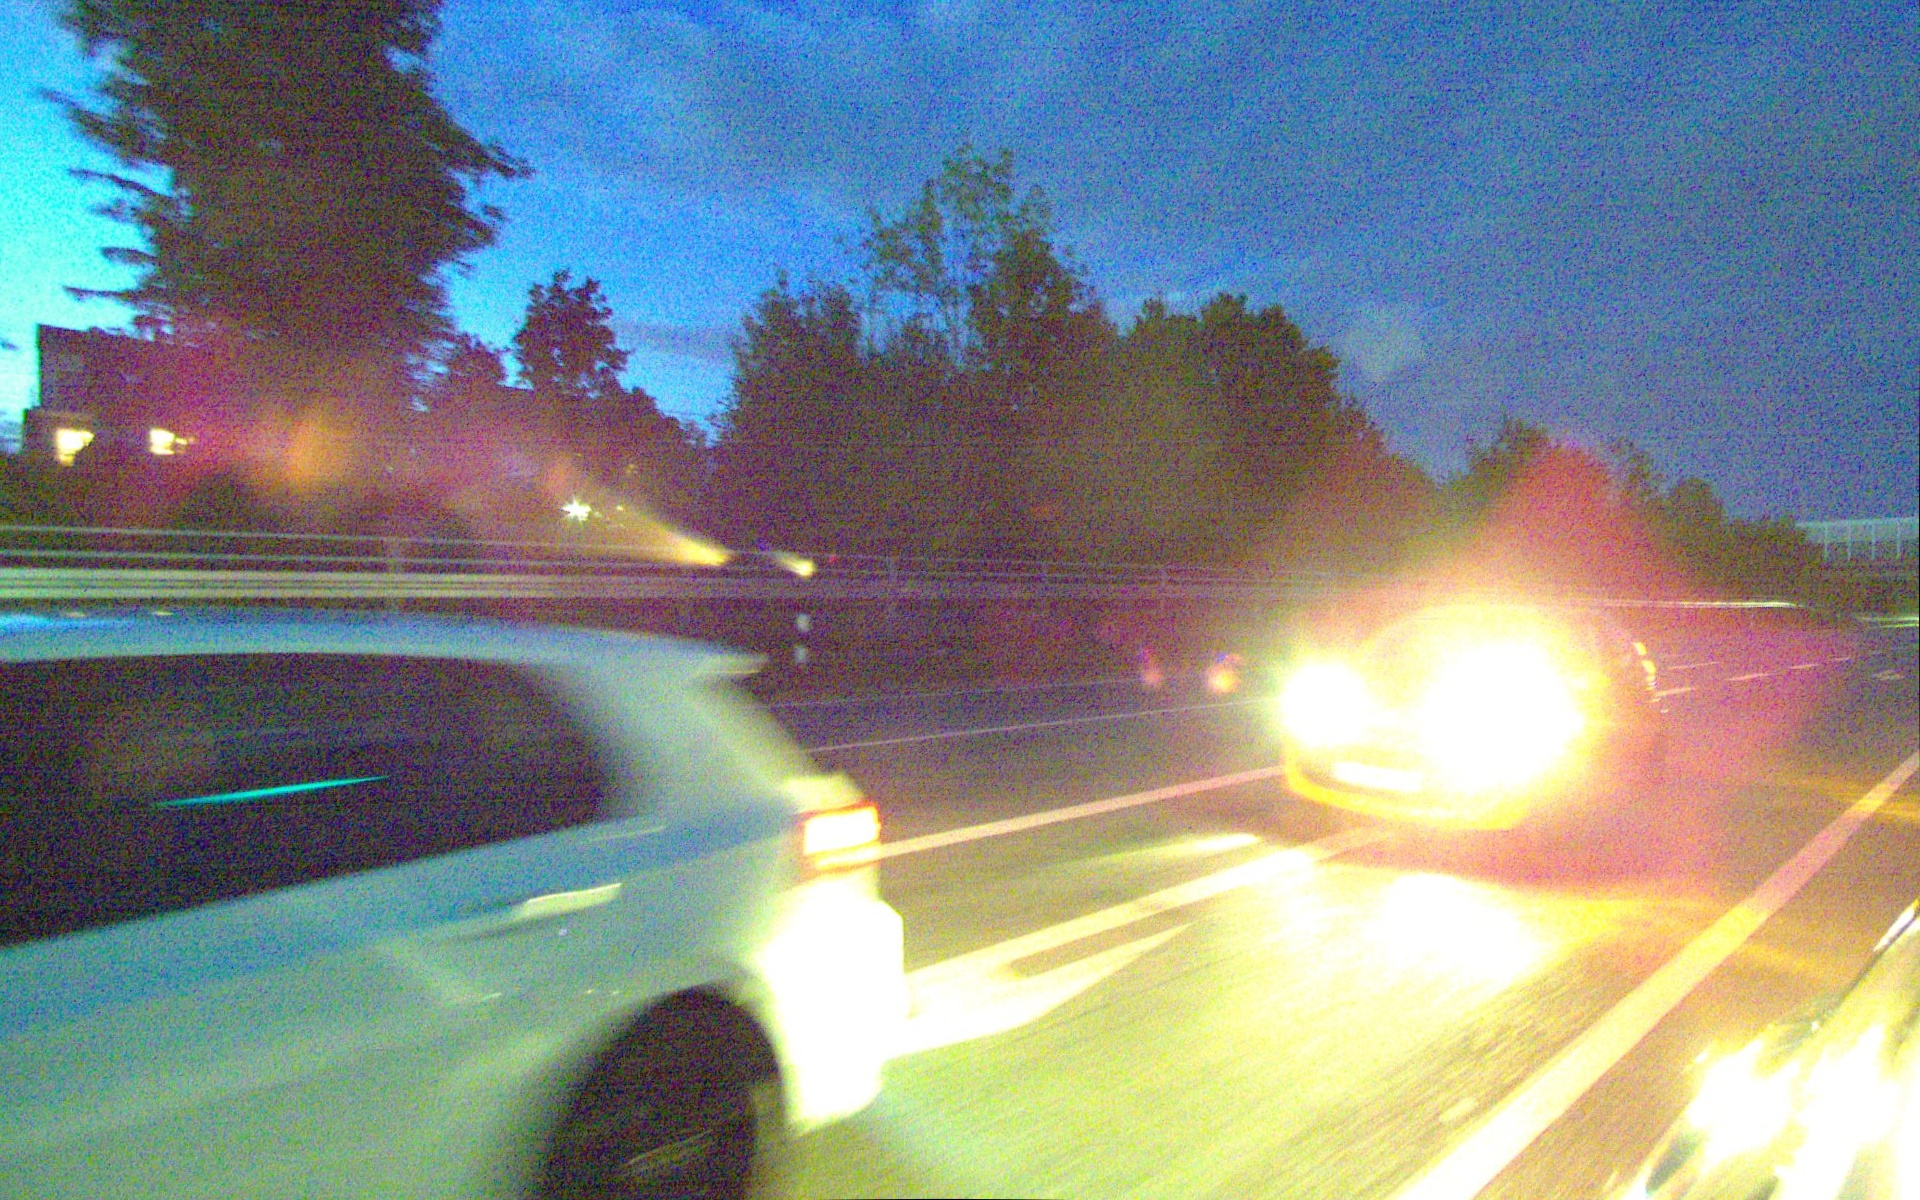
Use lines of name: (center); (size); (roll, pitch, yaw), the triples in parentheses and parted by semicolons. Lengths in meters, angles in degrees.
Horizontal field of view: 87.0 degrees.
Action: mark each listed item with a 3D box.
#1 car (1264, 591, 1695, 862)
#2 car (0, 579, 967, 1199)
car: (3.853, 0.689, 7.290); (3.429, 1.469, 1.655); (0, 0, -42)
car: (-2.098, 0.702, 1.745); (4.120, 1.478, 1.761); (0, 0, -42)
